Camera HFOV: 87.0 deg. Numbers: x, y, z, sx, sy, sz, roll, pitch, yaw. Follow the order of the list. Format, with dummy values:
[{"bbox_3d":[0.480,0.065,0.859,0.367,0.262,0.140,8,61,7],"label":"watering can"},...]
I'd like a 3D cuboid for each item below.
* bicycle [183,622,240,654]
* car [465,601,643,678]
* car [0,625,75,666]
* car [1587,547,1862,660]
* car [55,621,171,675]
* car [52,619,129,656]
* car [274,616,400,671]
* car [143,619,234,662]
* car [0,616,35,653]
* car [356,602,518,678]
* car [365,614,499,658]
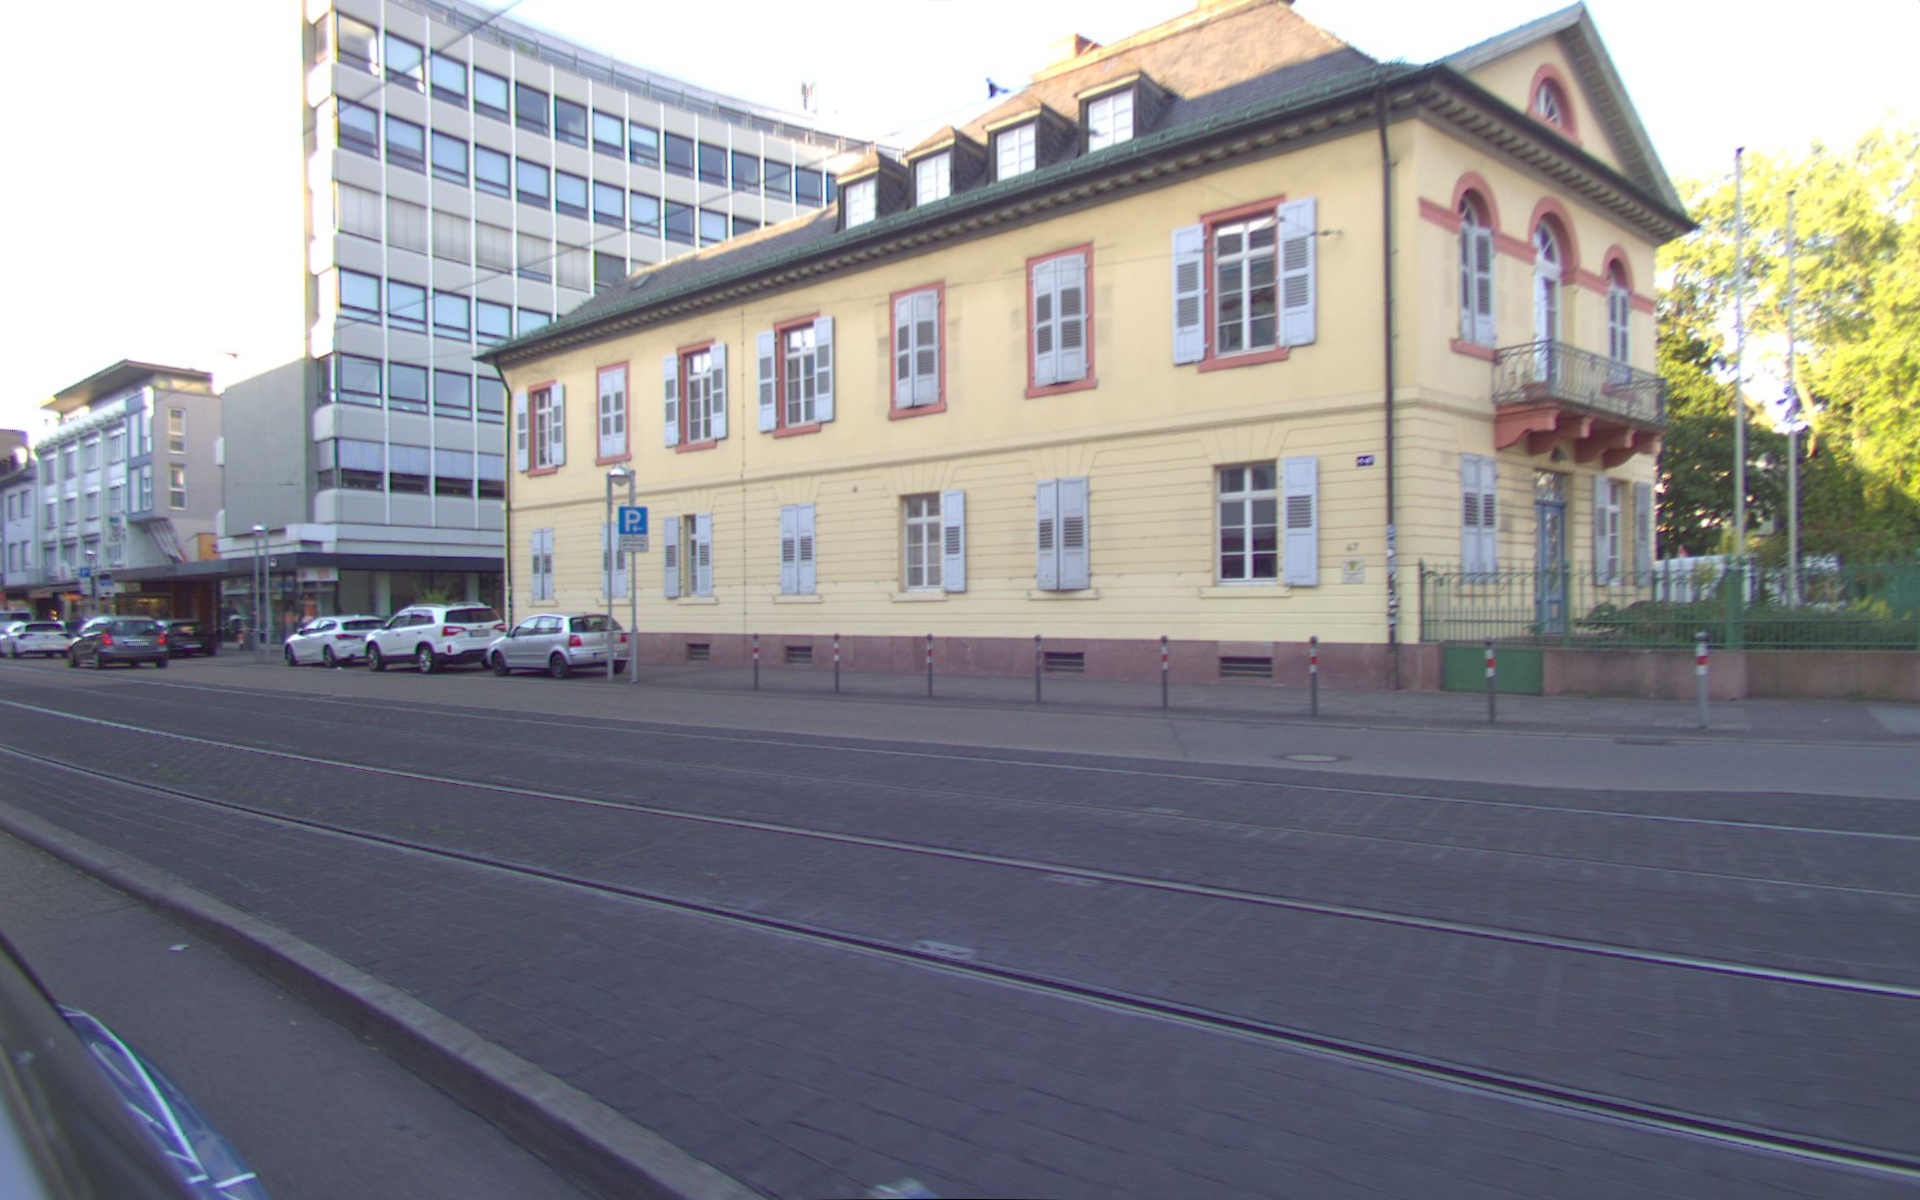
[{"bbox_3d":[-34.644,1.728,46.849,0.832,1.436,1.951,-1,-1,35],"label":"bicycle"},{"bbox_3d":[-9.458,0.880,23.489,4.204,1.629,1.797,-1,-1,34],"label":"car"},{"bbox_3d":[-36.489,1.736,39.692,4.026,1.523,1.790,-1,-2,36],"label":"car"},{"bbox_3d":[19.781,0.123,26.585,2.062,2.650,5.443,0,-1,-20],"label":"car"},{"bbox_3d":[-26.168,1.444,31.226,4.024,1.523,1.721,-1,-1,34],"label":"car"},{"bbox_3d":[-38.169,1.639,44.400,4.207,1.523,1.670,-1,-2,37],"label":"car"},{"bbox_3d":[-18.585,1.266,30.120,4.426,1.523,1.795,-1,-1,38],"label":"car"},{"bbox_3d":[-29.429,1.520,38.576,4.207,1.523,1.670,-1,0,37],"label":"car"},{"bbox_3d":[-52.890,1.887,55.660,5.151,1.992,1.938,-1,-1,36],"label":"car"},{"bbox_3d":[-13.635,0.999,26.291,4.486,1.799,1.797,-1,1,34],"label":"car"},{"bbox_3d":[-19.283,1.277,37.076,1.844,1.478,3.949,-1,-1,38],"label":"car"}]
